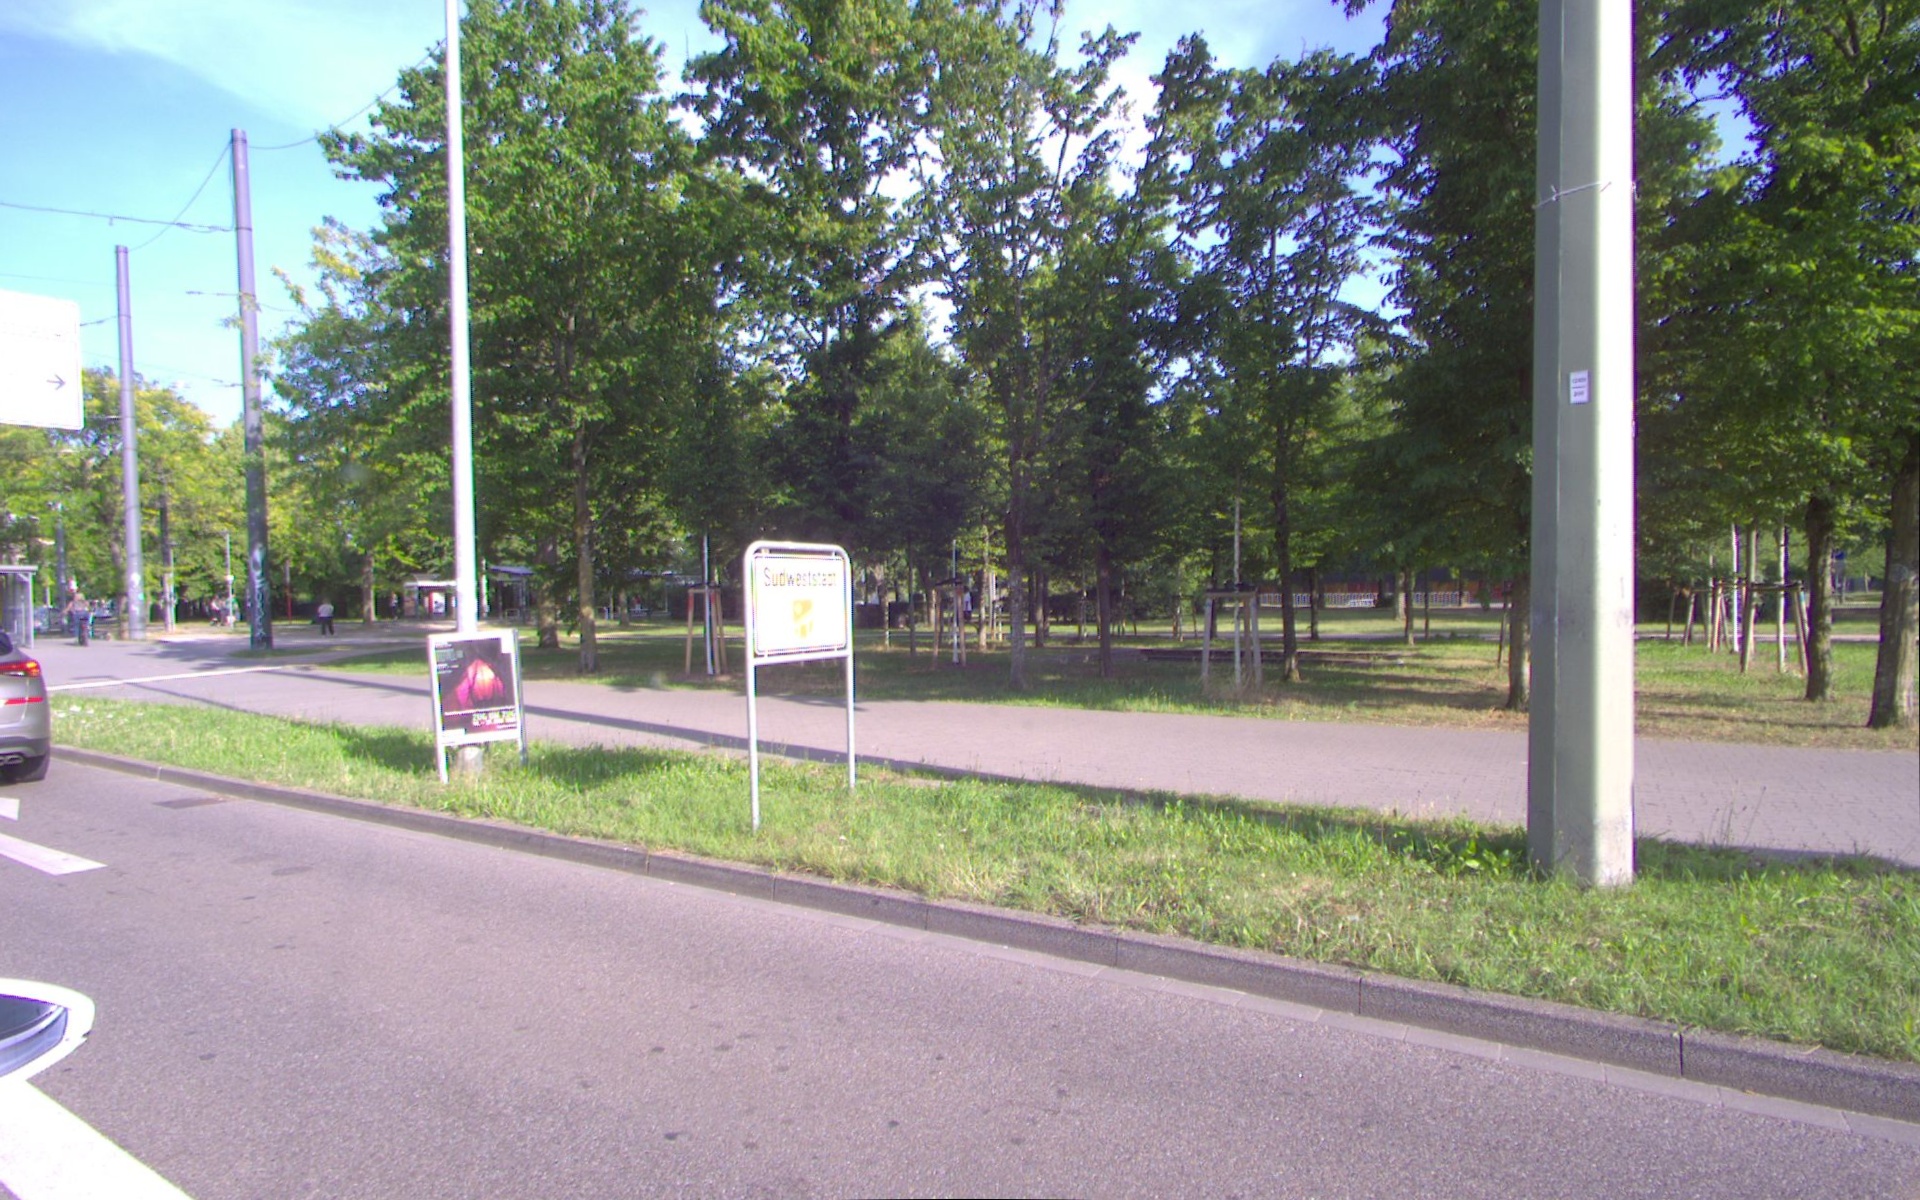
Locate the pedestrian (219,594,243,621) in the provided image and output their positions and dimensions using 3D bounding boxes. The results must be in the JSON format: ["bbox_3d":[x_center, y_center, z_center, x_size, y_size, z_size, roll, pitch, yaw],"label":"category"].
[{"bbox_3d":[-41.111,0.418,56.448,0.688,1.508,0.813,0,1,22],"label":"pedestrian"}]

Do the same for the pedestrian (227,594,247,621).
[{"bbox_3d":[-40.007,0.408,55.403,0.804,1.508,0.696,-2,1,-33],"label":"pedestrian"}]

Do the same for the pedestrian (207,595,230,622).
[{"bbox_3d":[-41.047,0.463,55.421,0.687,1.508,0.815,-1,1,-9],"label":"pedestrian"}]

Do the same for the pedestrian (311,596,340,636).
[{"bbox_3d":[-27.185,0.673,42.907,0.793,1.659,0.754,-1,1,-7],"label":"pedestrian"}]

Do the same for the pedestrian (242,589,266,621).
[{"bbox_3d":[-40.268,0.296,57.134,0.826,1.809,0.798,0,1,28],"label":"pedestrian"}]

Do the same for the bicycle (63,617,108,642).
[{"bbox_3d":[-27.906,0.932,31.943,2.138,0.767,0.494,-1,2,33],"label":"bicycle"}]

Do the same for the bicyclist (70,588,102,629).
[{"bbox_3d":[-27.816,0.258,31.875,0.856,1.279,0.533,0,1,32],"label":"bicyclist"}]

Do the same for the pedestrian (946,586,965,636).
[{"bbox_3d":[-0.170,0.415,37.079,0.617,1.836,0.502,-1,1,6],"label":"pedestrian"}]

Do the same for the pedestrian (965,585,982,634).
[{"bbox_3d":[0.514,0.352,38.243,0.617,1.836,0.502,-1,1,3],"label":"pedestrian"}]

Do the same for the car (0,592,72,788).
[{"bbox_3d":[-9.999,0.799,9.150,3.595,1.673,1.880,-1,1,32],"label":"car"}]

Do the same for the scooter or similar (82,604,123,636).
[{"bbox_3d":[-31.496,0.738,36.761,1.305,1.132,0.420,-1,1,13],"label":"scooter or similar"}]

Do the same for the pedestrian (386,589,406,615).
[{"bbox_3d":[-35.691,0.131,63.324,0.792,1.659,0.832,0,1,38],"label":"pedestrian"}]
